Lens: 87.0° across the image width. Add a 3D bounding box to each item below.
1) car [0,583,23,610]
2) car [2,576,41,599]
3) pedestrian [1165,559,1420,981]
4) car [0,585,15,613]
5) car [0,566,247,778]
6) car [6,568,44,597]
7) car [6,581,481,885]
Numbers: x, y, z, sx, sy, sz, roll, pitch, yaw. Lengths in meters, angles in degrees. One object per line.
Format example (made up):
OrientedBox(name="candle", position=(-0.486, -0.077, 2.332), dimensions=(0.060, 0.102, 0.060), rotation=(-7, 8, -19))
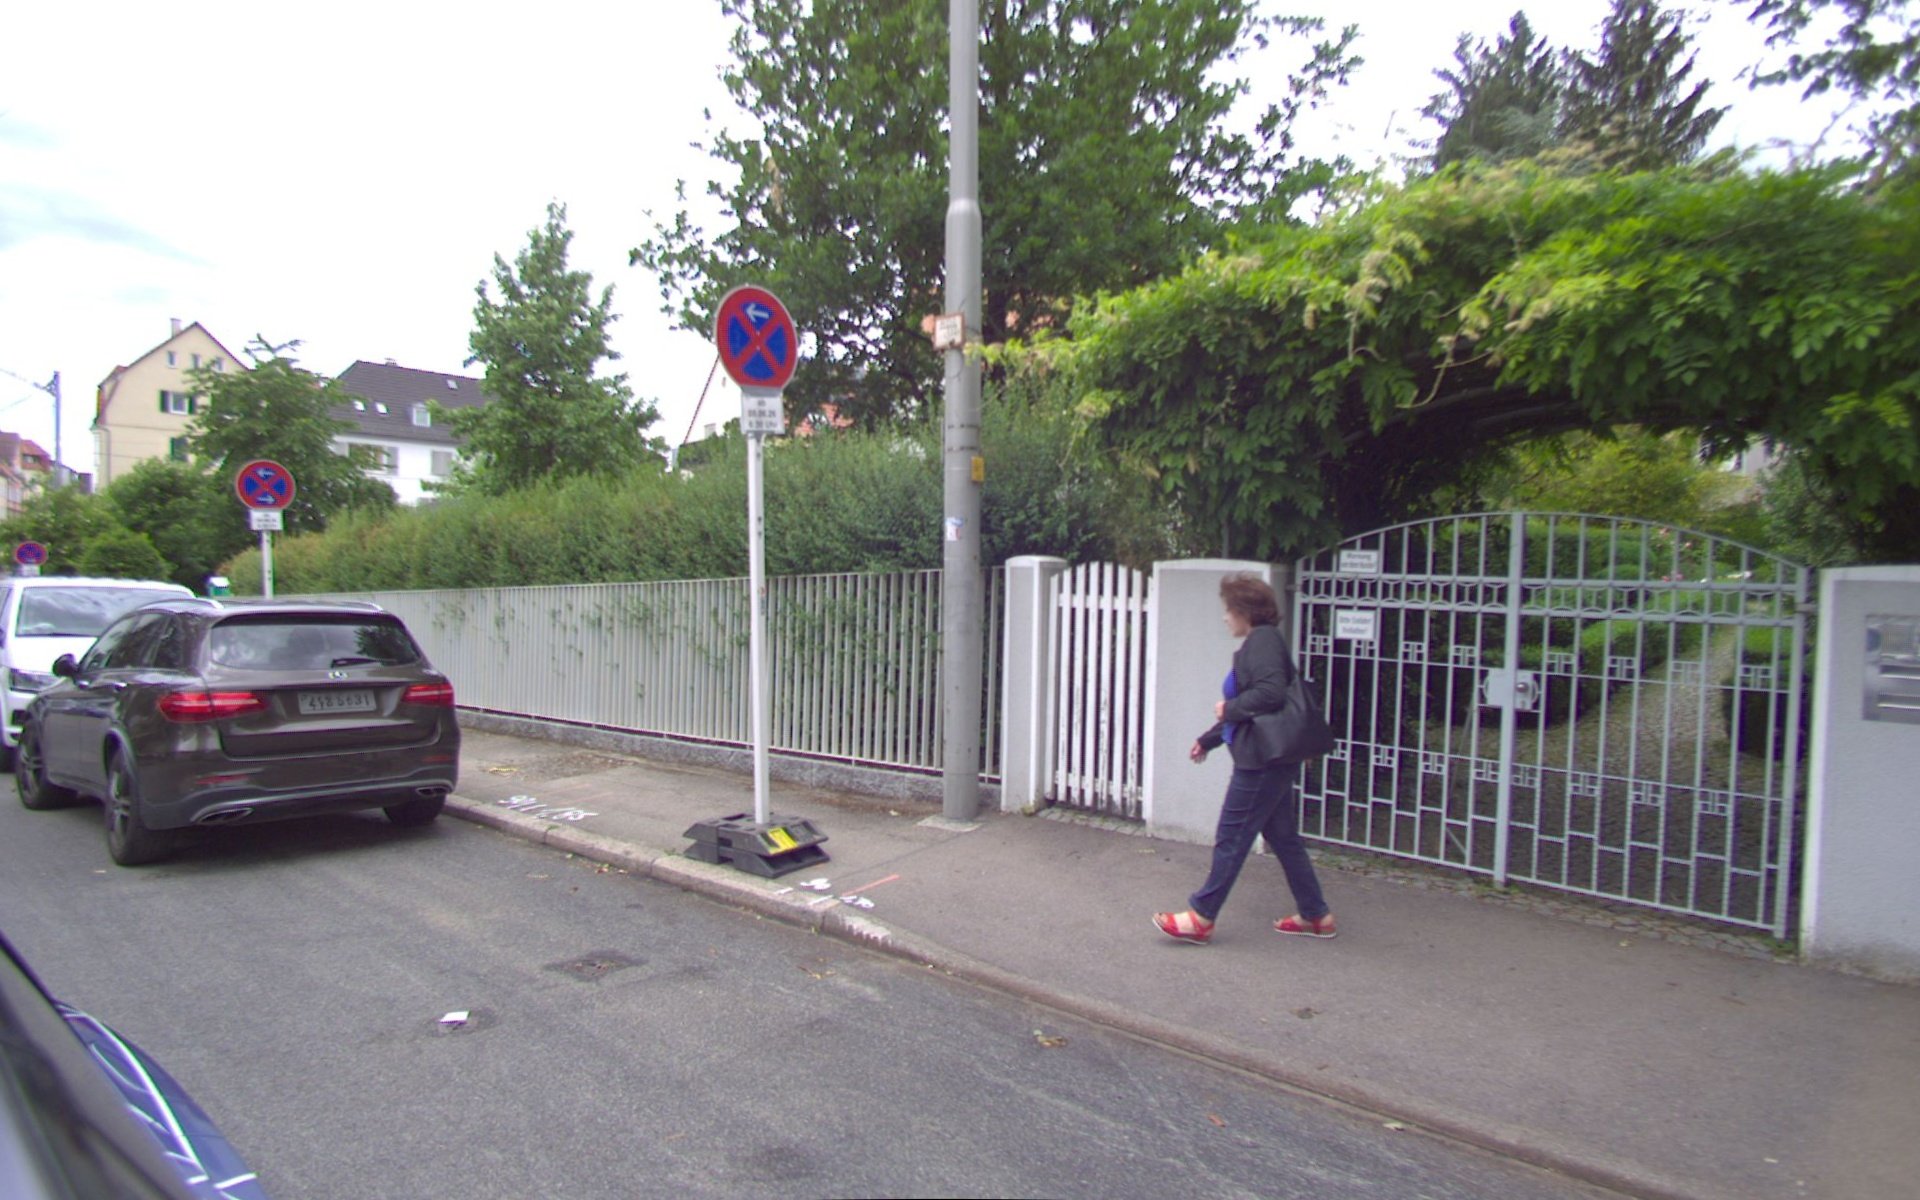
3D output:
OrientedBox(name="car", position=(-61.327, -0.269, 64.784), dimensions=(1.617, 1.439, 4.133), rotation=(2, 2, -38))
OrientedBox(name="car", position=(-63.379, -0.862, 68.390), dimensions=(1.617, 1.409, 3.711), rotation=(1, 2, -38))
OrientedBox(name="pedestrian", position=(1.404, 0.636, 4.263), dimensions=(0.797, 1.557, 0.602), rotation=(-1, 4, 40))
OrientedBox(name="car", position=(-57.961, -0.097, 60.431), dimensions=(1.779, 1.491, 4.338), rotation=(1, 2, -38))
OrientedBox(name="car", position=(-9.823, 0.692, 11.419), dimensions=(4.617, 1.928, 1.835), rotation=(0, -2, 42))
OrientedBox(name="car", position=(-66.805, -1.270, 72.357), dimensions=(1.727, 1.810, 4.157), rotation=(2, 3, -40))
OrientedBox(name="car", position=(-5.480, 0.759, 7.522), dimensions=(4.338, 1.635, 1.773), rotation=(-1, -2, 39))
